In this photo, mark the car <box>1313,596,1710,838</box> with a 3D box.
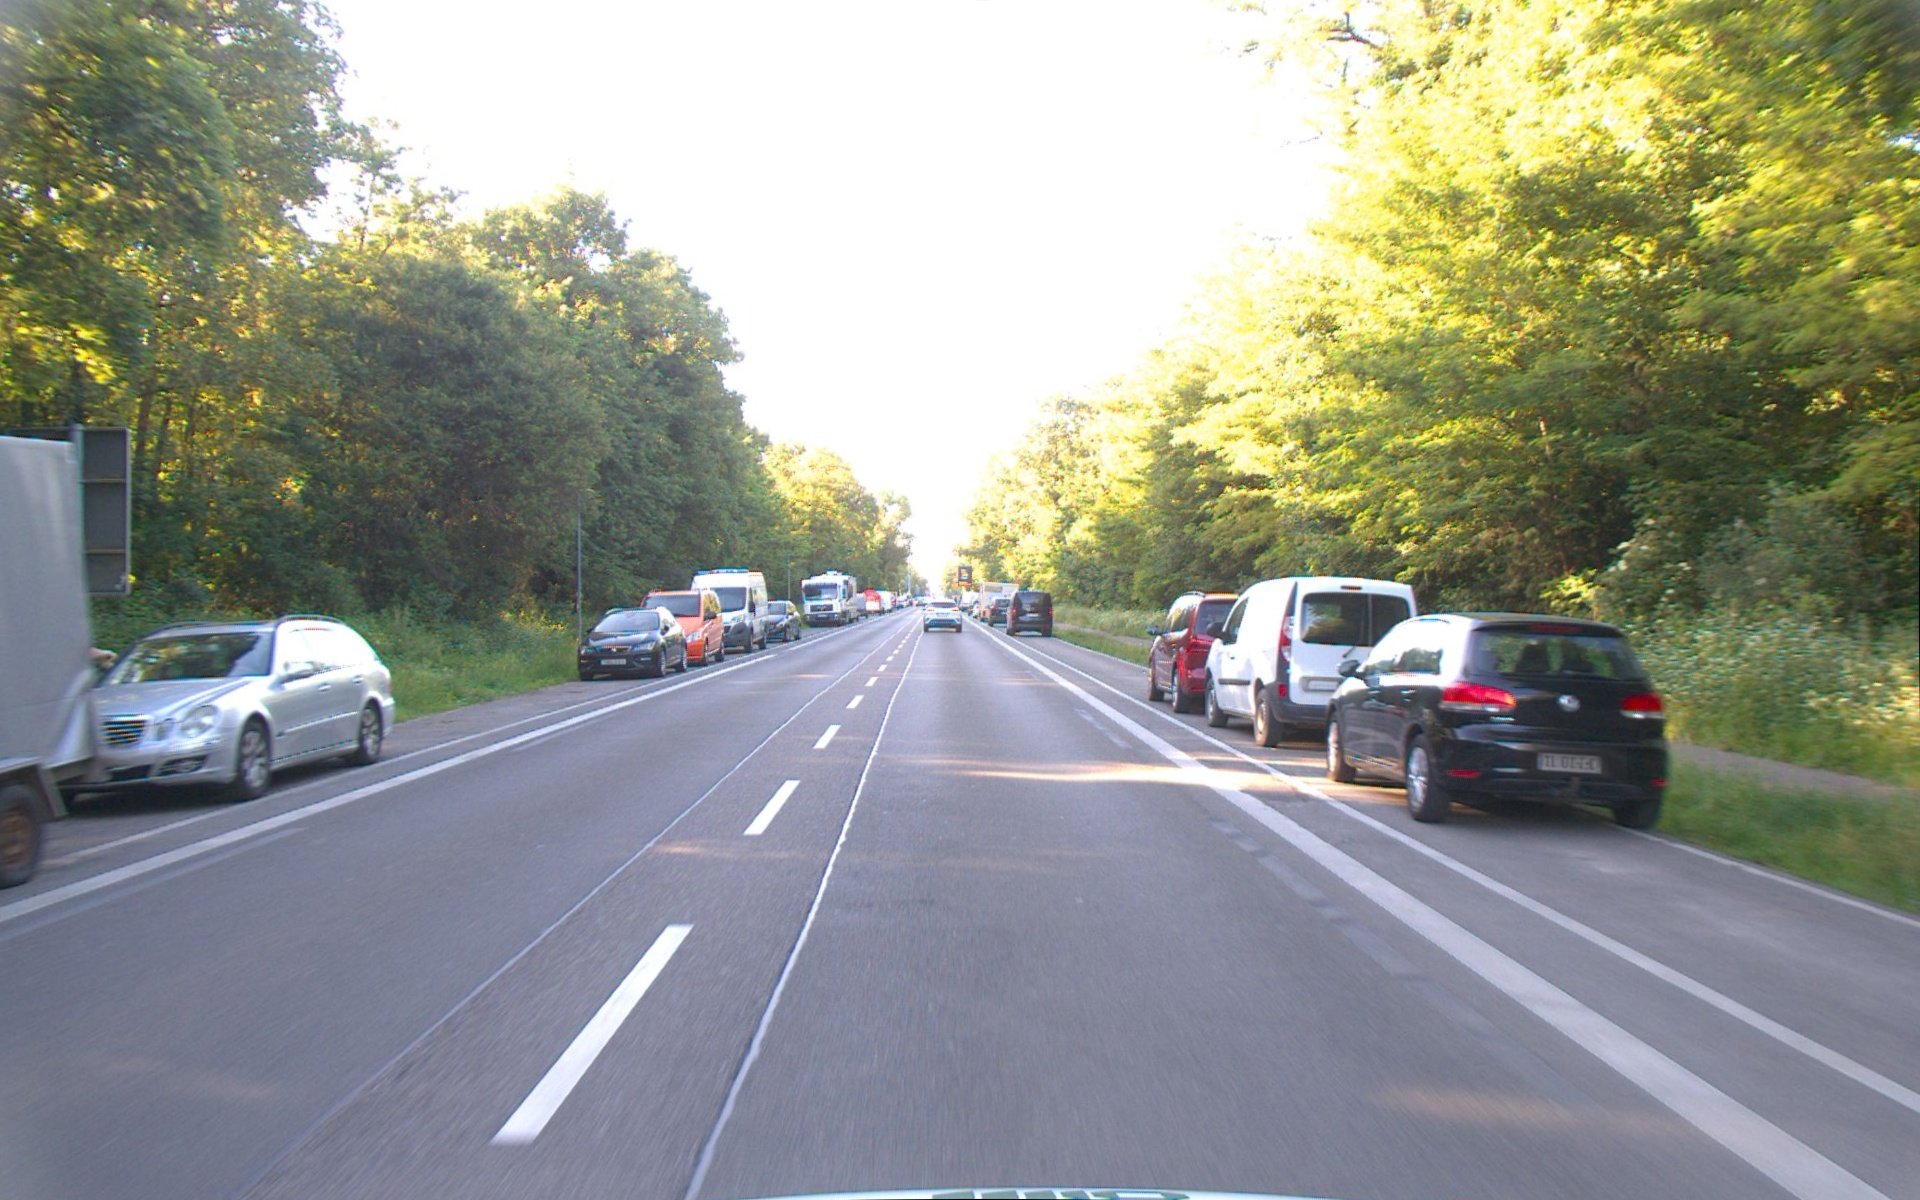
[{"bbox_3d":[4.059,0.767,12.916,1.656,1.551,4.149,1,0,-1],"label":"car"}]

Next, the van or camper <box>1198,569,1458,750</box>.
[{"bbox_3d":[4.099,0.607,19.169,1.912,1.847,4.379,0,0,-2],"label":"van or camper"}]

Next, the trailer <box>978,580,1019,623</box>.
[{"bbox_3d":[2.686,0.102,117.599,2.701,2.920,6.587,0,0,-1],"label":"trailer"}]

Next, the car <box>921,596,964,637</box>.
[{"bbox_3d":[-0.827,0.735,78.185,1.987,1.872,4.028,0,0,-1],"label":"car"}]

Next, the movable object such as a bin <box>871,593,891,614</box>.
[{"bbox_3d":[-9.390,0.393,197.698,2.275,2.545,3.999,0,0,-1],"label":"movable object such as a bin"}]

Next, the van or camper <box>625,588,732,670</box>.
[{"bbox_3d":[-7.080,0.690,42.062,1.884,1.899,4.862,-2,0,-1],"label":"van or camper"}]

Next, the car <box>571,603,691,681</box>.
[{"bbox_3d":[-6.992,0.854,35.562,1.696,1.504,4.323,-2,0,-1],"label":"car"}]

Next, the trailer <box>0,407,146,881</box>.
[{"bbox_3d":[-6.328,0.274,8.598,1.953,2.643,4.415,-2,0,-1],"label":"trailer"}]

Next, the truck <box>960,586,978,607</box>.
[{"bbox_3d":[1.122,-0.431,208.583,2.054,2.495,5.679,0,0,-1],"label":"truck"}]

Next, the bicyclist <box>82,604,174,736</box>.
[{"bbox_3d":[-9.045,0.748,17.995,0.592,1.398,0.799,0,0,-1],"label":"bicyclist"}]

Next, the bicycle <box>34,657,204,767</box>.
[{"bbox_3d":[-9.068,1.179,17.959,0.638,1.026,2.396,0,0,-1],"label":"bicycle"}]

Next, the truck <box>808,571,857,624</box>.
[{"bbox_3d":[-8.626,-0.162,113.048,2.652,3.406,10.921,0,0,-1],"label":"truck"}]

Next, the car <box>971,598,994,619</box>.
[{"bbox_3d":[1.799,0.666,133.582,1.697,1.713,3.999,0,0,-1],"label":"car"}]

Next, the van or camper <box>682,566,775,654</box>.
[{"bbox_3d":[-7.327,0.293,53.011,2.077,2.617,6.541,-1,0,-1],"label":"van or camper"}]

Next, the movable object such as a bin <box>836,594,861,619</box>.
[{"bbox_3d":[-9.168,0.518,136.253,1.914,2.049,3.999,0,0,-1],"label":"movable object such as a bin"}]

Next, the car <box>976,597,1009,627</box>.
[{"bbox_3d":[1.866,0.674,95.667,1.803,1.691,4.000,1,0,0],"label":"car"}]

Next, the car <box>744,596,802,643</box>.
[{"bbox_3d":[-7.303,0.741,64.941,1.745,1.713,4.377,-2,0,-1],"label":"car"}]

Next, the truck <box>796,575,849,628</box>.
[{"bbox_3d":[-8.353,0.095,101.441,2.652,3.148,7.988,0,0,-1],"label":"truck"}]

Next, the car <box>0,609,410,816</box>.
[{"bbox_3d":[-6.507,0.860,14.744,1.761,1.479,4.623,-1,0,-2],"label":"car"}]

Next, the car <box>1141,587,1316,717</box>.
[{"bbox_3d":[3.831,0.697,24.316,1.797,1.689,4.337,2,0,-1],"label":"car"}]

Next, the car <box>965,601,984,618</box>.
[{"bbox_3d":[1.341,0.857,153.596,1.622,1.504,3.753,0,0,-1],"label":"car"}]

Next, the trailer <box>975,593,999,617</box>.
[{"bbox_3d":[2.281,0.453,140.274,1.953,2.004,3.999,0,0,-1],"label":"trailer"}]

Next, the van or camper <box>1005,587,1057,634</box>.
[{"bbox_3d":[3.079,0.460,72.828,1.953,1.966,5.198,1,0,-1],"label":"van or camper"}]

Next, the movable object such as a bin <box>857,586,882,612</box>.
[{"bbox_3d":[-8.775,-0.104,160.628,2.275,2.545,3.999,0,0,-1],"label":"movable object such as a bin"}]

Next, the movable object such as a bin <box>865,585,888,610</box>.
[{"bbox_3d":[-8.860,-0.276,175.112,2.275,2.545,3.999,0,0,-1],"label":"movable object such as a bin"}]
